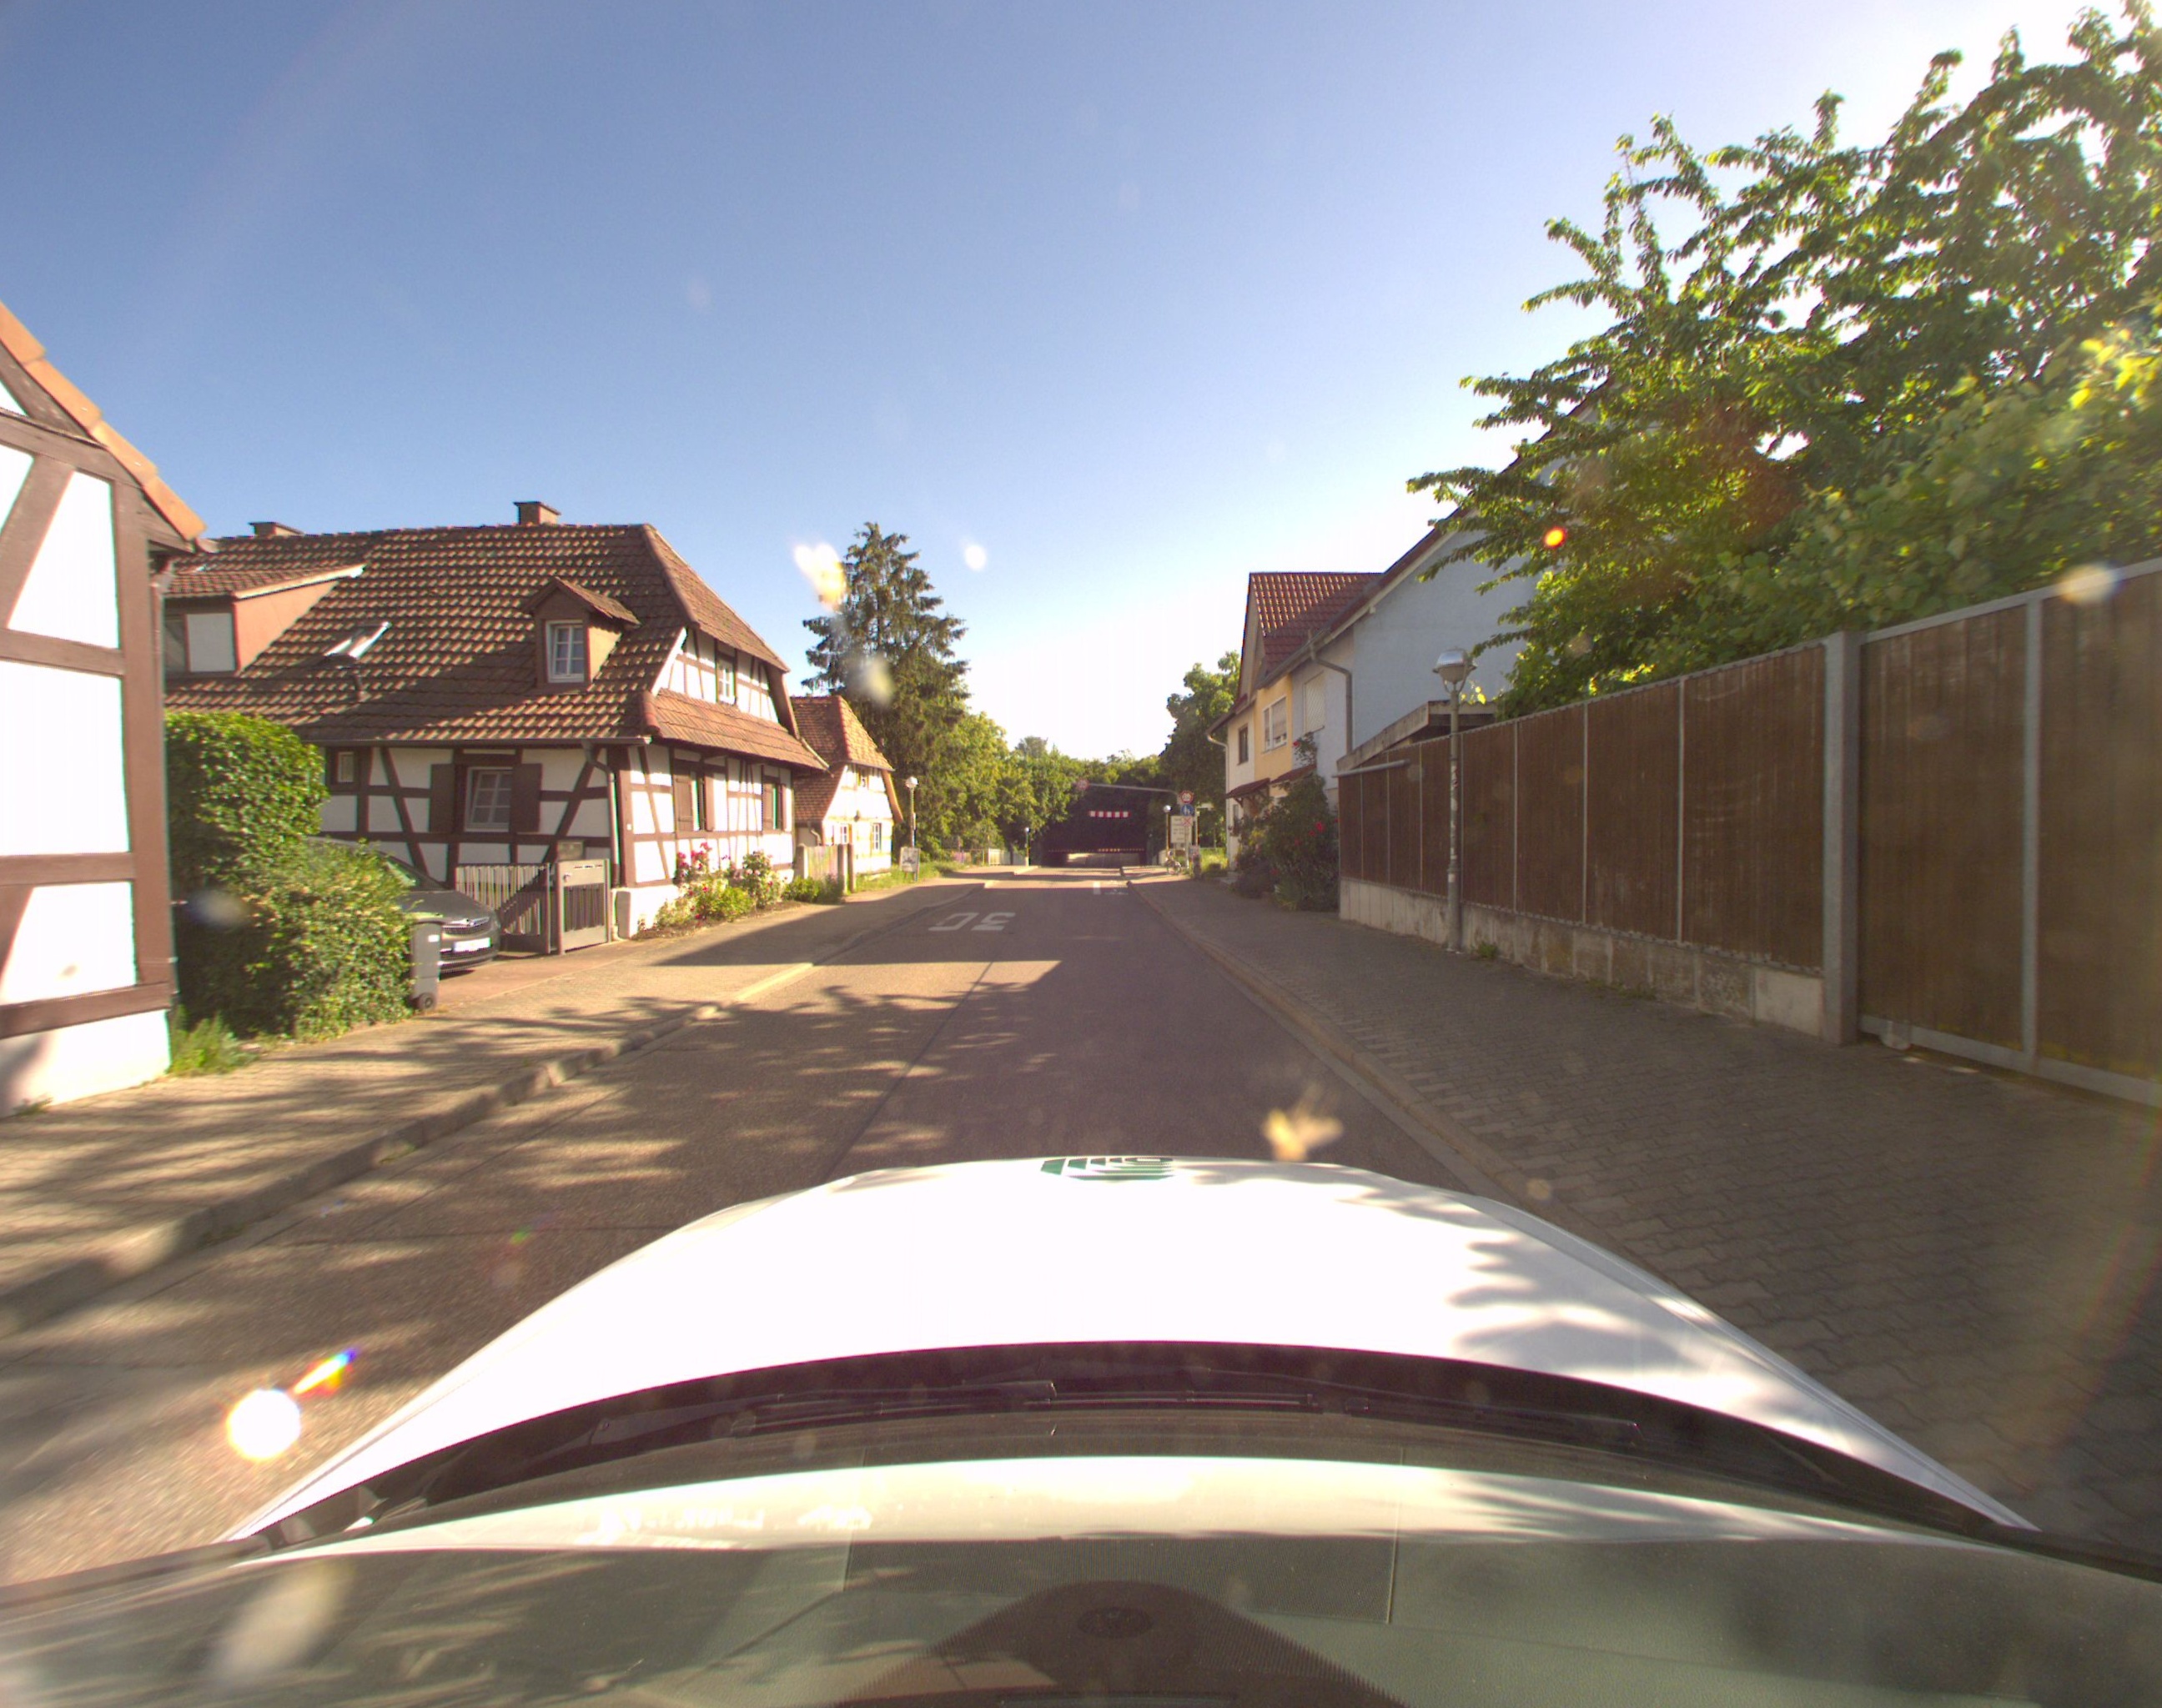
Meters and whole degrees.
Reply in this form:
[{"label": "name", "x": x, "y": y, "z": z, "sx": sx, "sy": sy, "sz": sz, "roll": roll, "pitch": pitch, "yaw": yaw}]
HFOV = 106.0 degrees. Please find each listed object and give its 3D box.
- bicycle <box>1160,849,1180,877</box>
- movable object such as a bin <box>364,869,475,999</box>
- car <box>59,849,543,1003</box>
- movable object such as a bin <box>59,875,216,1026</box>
[{"label": "bicycle", "x": 3.963, "y": 0.371, "z": 36.329, "sx": 0.686, "sy": 1.157, "sz": 1.539, "roll": -5, "pitch": 1, "yaw": 0}, {"label": "movable object such as a bin", "x": -6.154, "y": 0.717, "z": 7.601, "sx": 0.474, "sy": 1.140, "sz": 0.668, "roll": 0, "pitch": 0, "yaw": 1}, {"label": "car", "x": -9.205, "y": 0.801, "z": 9.885, "sx": 4.089, "sy": 1.592, "sz": 1.819, "roll": -1, "pitch": 0, "yaw": 1}, {"label": "movable object such as a bin", "x": -7.015, "y": 0.689, "z": 6.079, "sx": 0.396, "sy": 1.040, "sz": 0.648, "roll": 0, "pitch": 0, "yaw": 8}]
